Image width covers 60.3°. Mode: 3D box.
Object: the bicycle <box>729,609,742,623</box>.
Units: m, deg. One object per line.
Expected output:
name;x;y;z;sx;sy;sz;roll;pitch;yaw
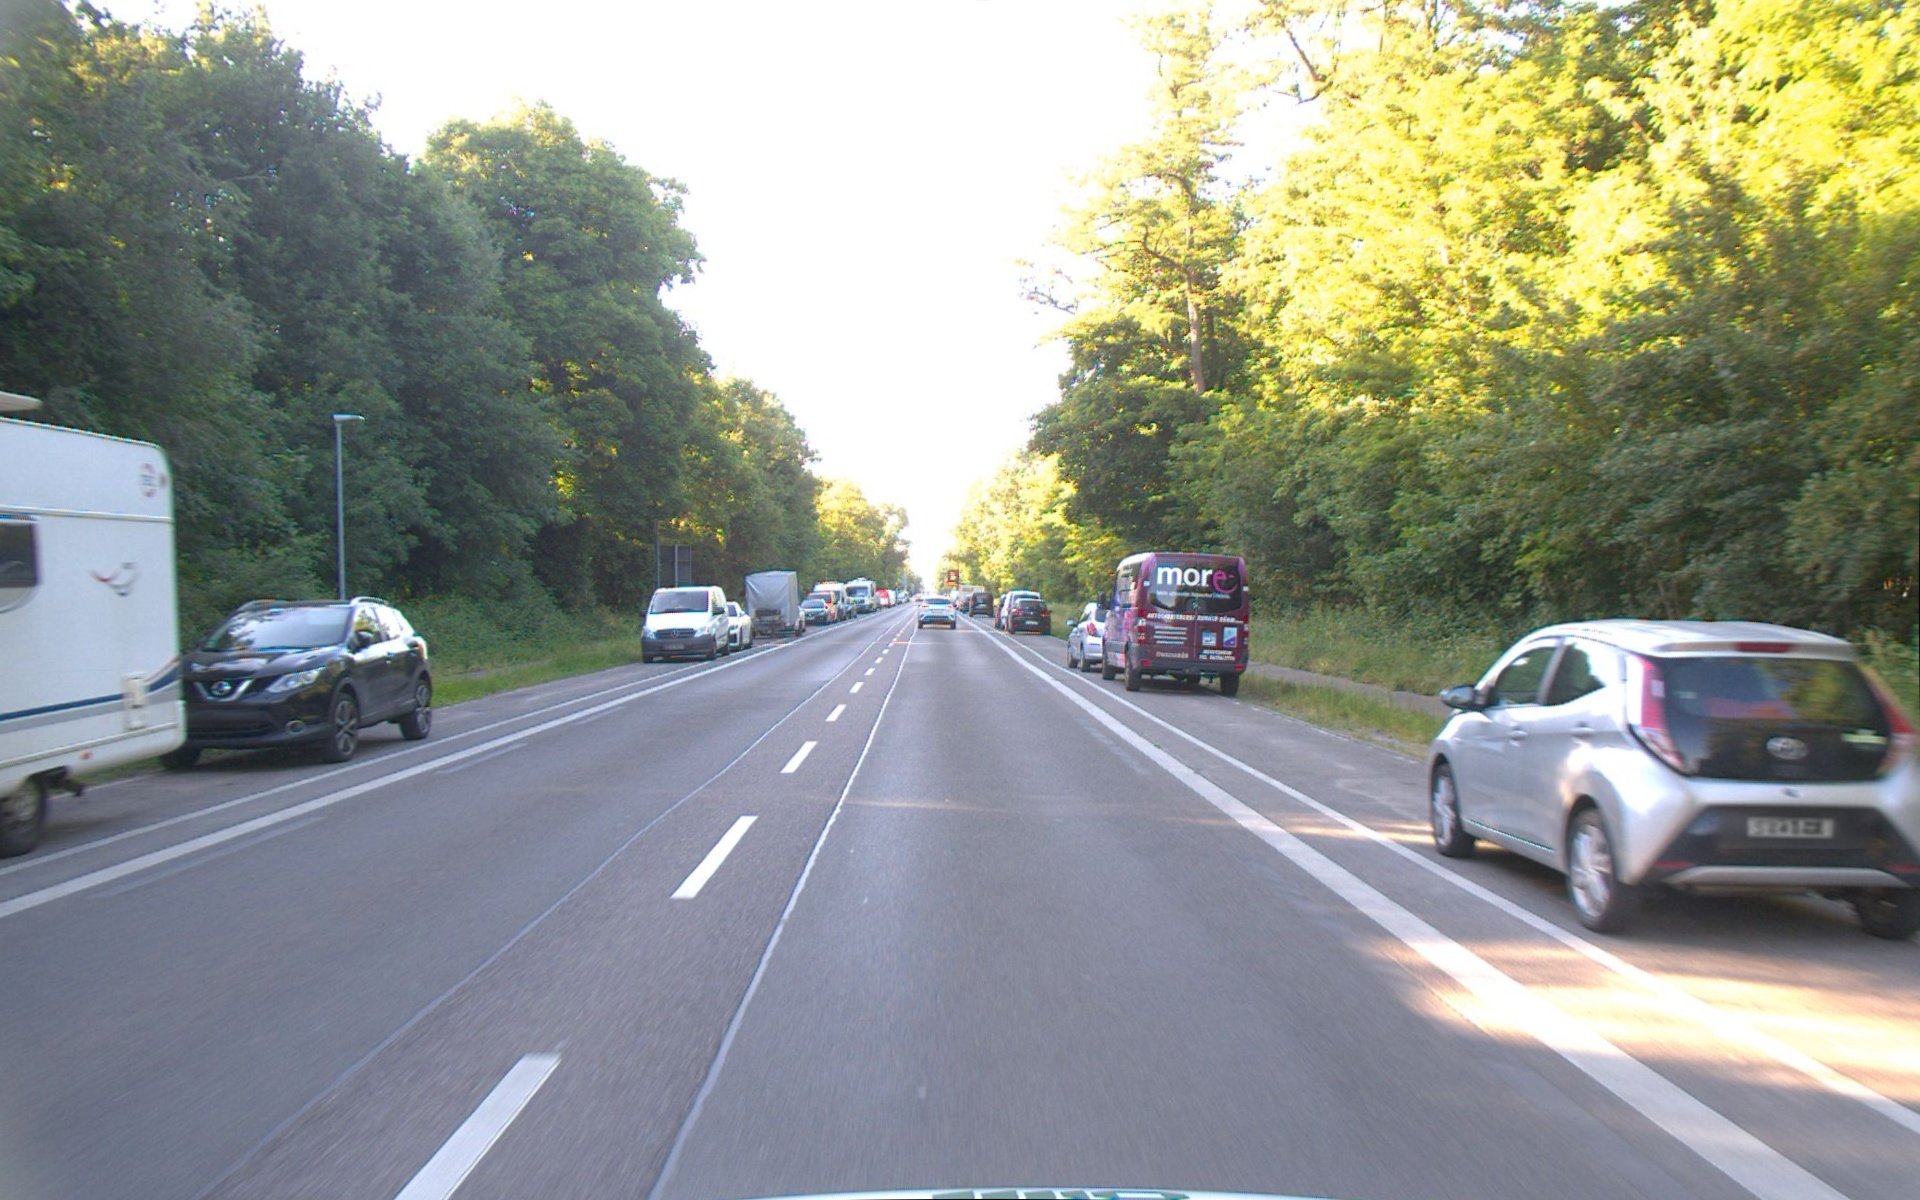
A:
bicycle;-11.981;0.843;88.351;0.511;0.725;1.487;0;0;-1

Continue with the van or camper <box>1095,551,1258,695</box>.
van or camper;3.829;0.359;30.380;1.994;2.352;6.039;-1;0;-2

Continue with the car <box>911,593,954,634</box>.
car;-1.277;0.600;78.214;1.987;1.872;4.028;0;0;-1

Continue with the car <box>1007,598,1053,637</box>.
car;2.955;0.733;70.458;1.656;1.551;4.148;1;0;-1

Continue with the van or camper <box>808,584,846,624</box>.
van or camper;-8.904;0.261;111.077;2.077;2.617;6.541;-1;0;-1

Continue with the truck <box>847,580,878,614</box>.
truck;-10.026;-0.328;170.968;2.652;3.406;10.921;0;0;-1

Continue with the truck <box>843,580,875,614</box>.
truck;-9.653;-0.298;158.999;2.652;3.148;7.987;0;0;-1

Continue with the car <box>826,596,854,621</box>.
car;-8.910;0.618;122.907;1.745;1.713;4.377;-2;0;-1

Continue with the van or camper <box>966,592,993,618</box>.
van or camper;1.485;0.358;130.308;1.953;1.966;5.198;1;0;-1

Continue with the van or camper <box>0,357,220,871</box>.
van or camper;-6.754;0.114;9.270;2.269;3.021;7.106;-2;0;-3

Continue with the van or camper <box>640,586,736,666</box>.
van or camper;-7.081;0.635;43.483;1.798;1.945;4.854;-1;0;-2

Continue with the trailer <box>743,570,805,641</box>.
trailer;-7.396;0.212;66.207;1.953;2.643;4.415;-2;0;-1

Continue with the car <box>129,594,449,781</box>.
car;-6.834;0.797;17.362;1.612;1.660;4.272;-2;0;-1

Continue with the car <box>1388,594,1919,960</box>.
car;3.799;0.782;9.346;1.677;1.572;4.022;2;0;0

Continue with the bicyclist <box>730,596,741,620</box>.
bicyclist;-11.979;0.409;88.380;0.477;1.256;0.974;0;0;-1

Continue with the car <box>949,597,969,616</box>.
car;-0.098;0.591;153.139;1.803;1.691;3.999;1;0;-1

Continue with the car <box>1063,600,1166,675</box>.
car;3.420;0.798;37.210;1.712;1.542;3.998;2;0;-3

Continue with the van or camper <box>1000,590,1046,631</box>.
van or camper;2.912;0.484;76.962;1.911;1.847;4.380;0;0;-1

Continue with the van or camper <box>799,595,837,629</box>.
van or camper;-8.554;0.710;99.807;1.884;1.899;4.862;-2;0;-1

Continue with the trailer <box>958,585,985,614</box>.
trailer;1.219;-0.050;175.268;2.701;2.920;6.587;0;0;-1

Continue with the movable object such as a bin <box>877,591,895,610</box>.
movable object such as a bin;-9.707;0.050;218.370;2.275;2.545;3.999;0;0;-1

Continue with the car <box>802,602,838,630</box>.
car;-7.859;0.883;93.154;1.696;1.504;4.323;-2;0;-1

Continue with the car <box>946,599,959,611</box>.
car;-0.947;0.585;212.140;1.622;1.504;3.753;0;0;-1

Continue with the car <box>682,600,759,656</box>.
car;-7.260;0.813;50.418;1.738;1.567;4.523;-2;0;-1

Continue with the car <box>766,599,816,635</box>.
car;-7.456;0.734;73.423;1.761;1.479;4.624;-2;0;-1
